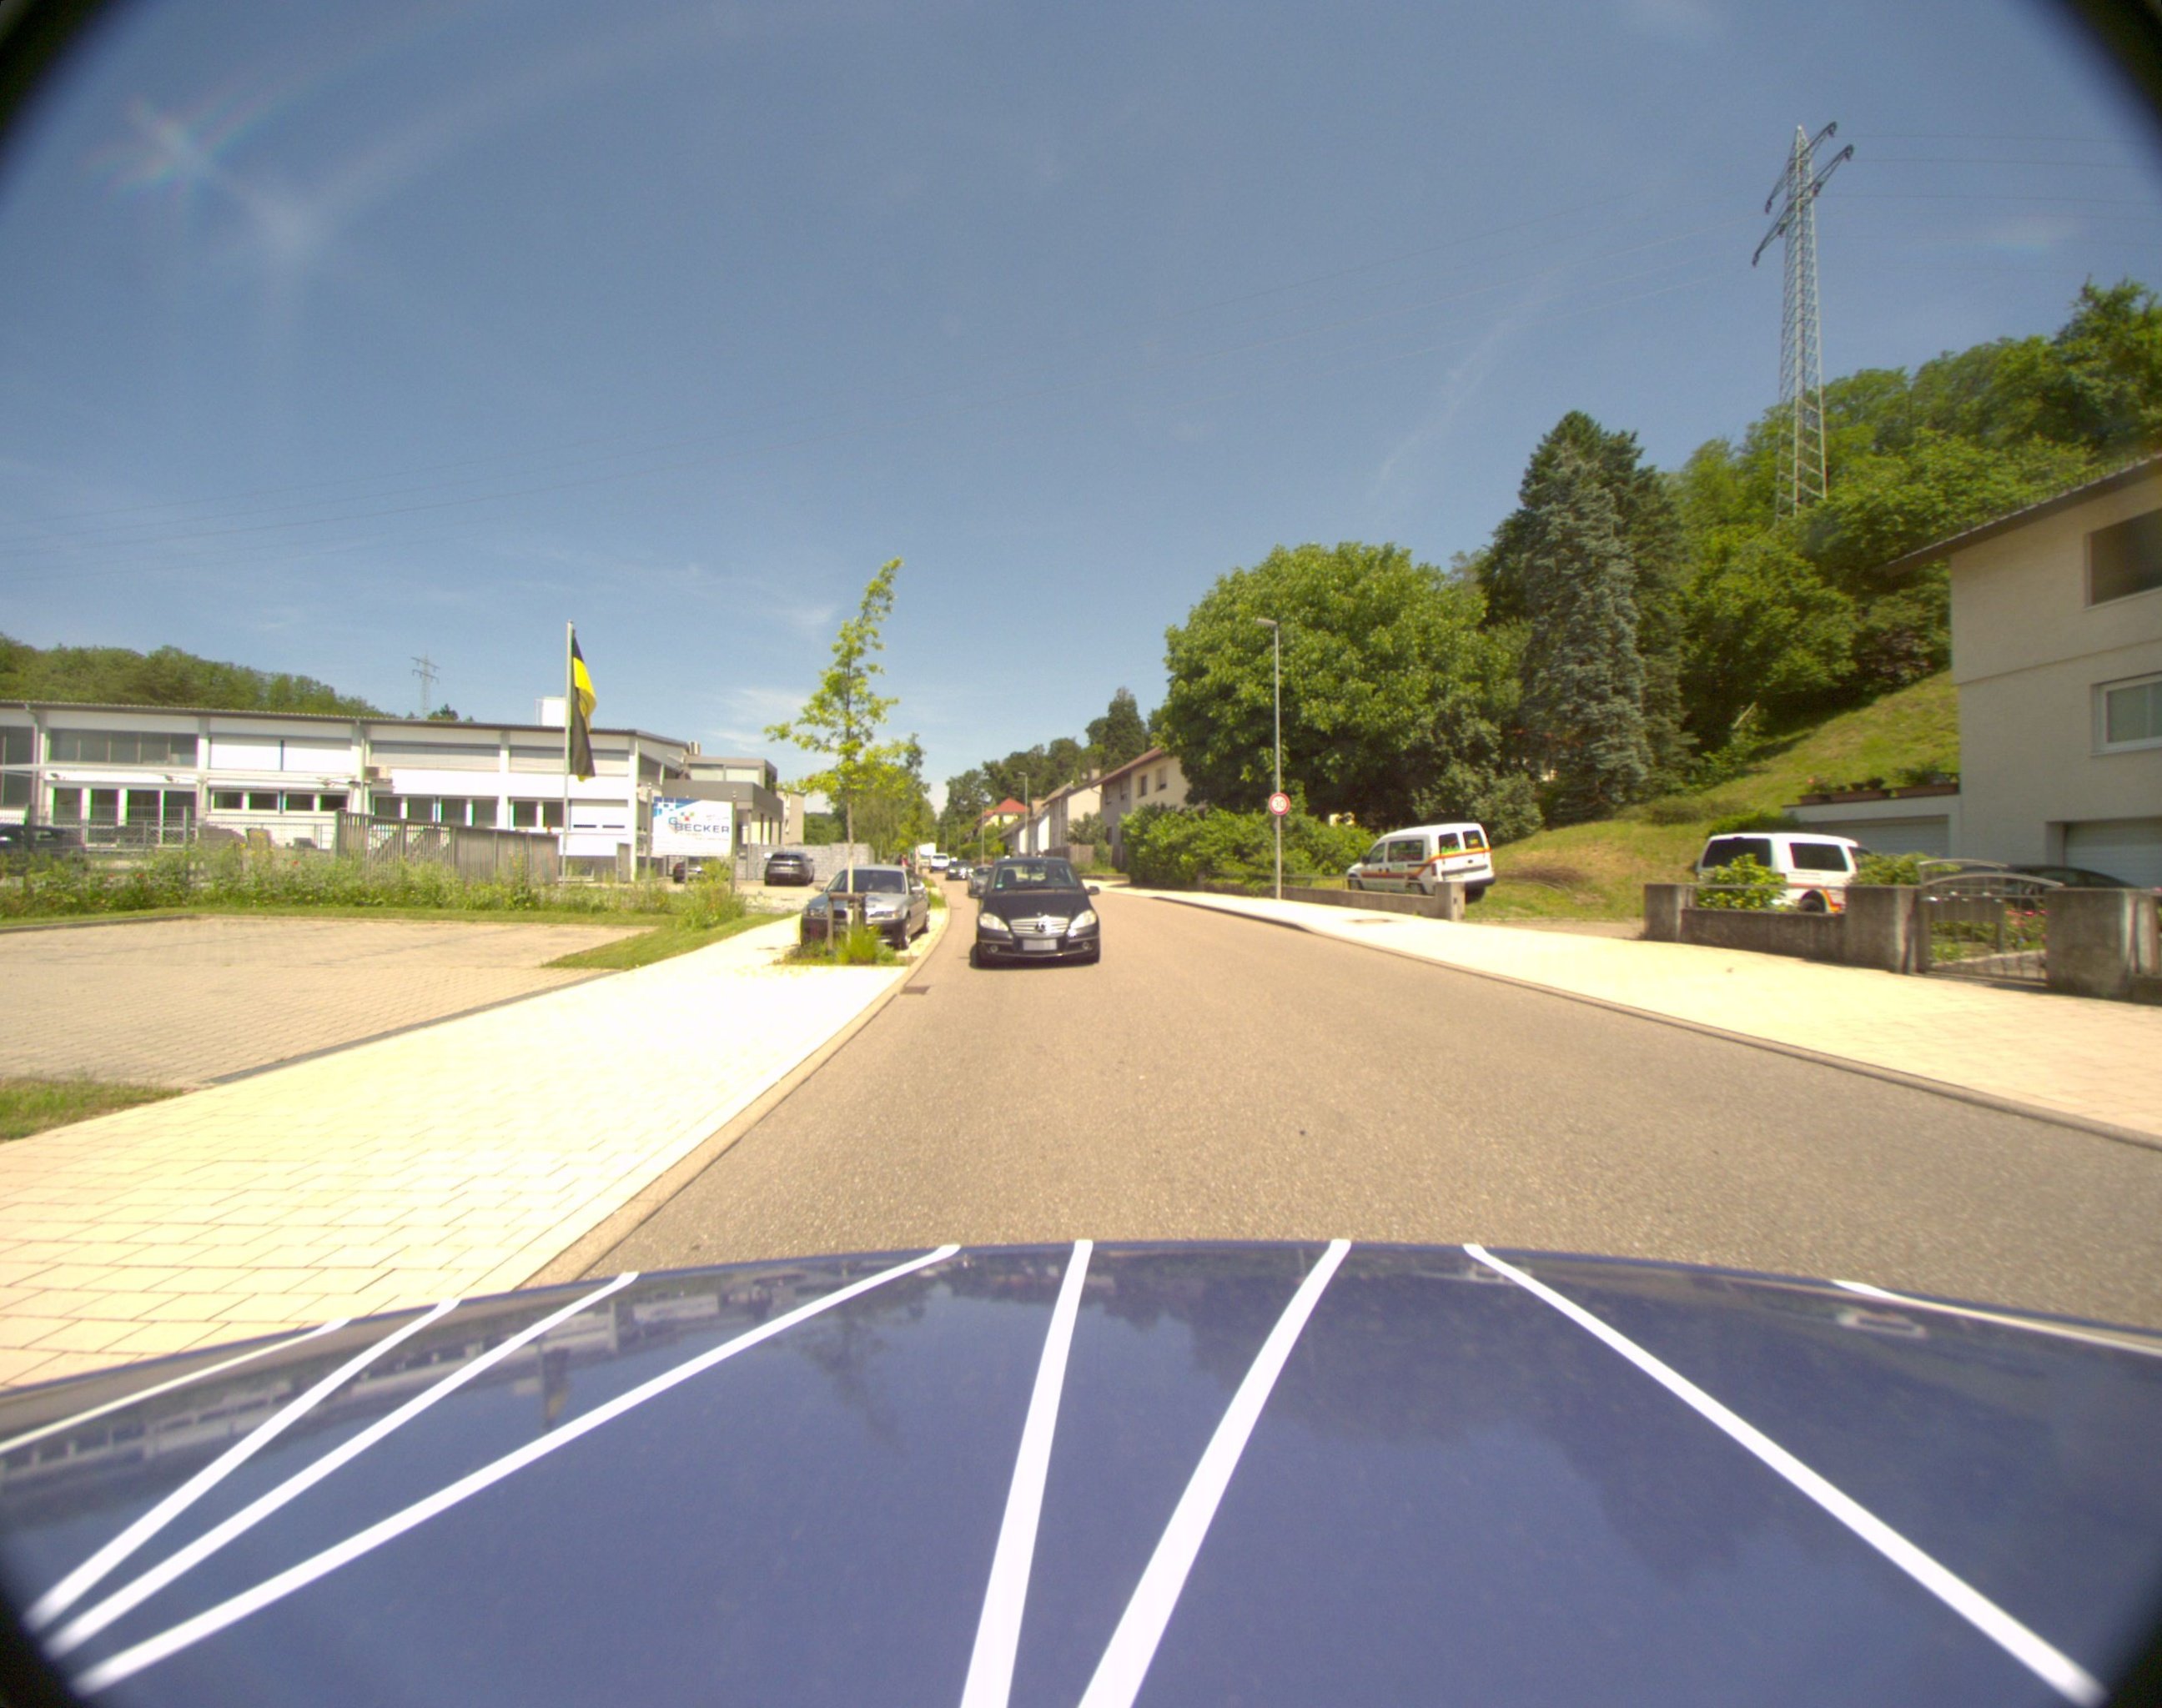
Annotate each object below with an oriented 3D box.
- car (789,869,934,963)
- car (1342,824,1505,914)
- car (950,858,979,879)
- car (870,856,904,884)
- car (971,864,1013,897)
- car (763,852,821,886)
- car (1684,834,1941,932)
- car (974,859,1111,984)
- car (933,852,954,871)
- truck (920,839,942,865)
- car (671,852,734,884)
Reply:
[{"bbox_3d":[-3.784,1.002,13.773,1.675,1.368,3.998,1,0,-4],"label":"car"},{"bbox_3d":[8.254,0.313,18.741,1.705,1.937,3.996,-1,0,-10],"label":"car"},{"bbox_3d":[-8.153,0.981,52.949,1.912,1.342,3.996,-1,0,-10],"label":"car"},{"bbox_3d":[-11.155,0.872,43.561,1.653,1.520,3.858,-1,0,-17],"label":"car"},{"bbox_3d":[-3.779,1.069,31.895,1.668,1.253,3.549,-1,0,-8],"label":"car"},{"bbox_3d":[-13.896,0.687,36.744,2.001,1.477,3.995,2,0,-12],"label":"car"},{"bbox_3d":[14.484,0.590,15.124,4.002,1.778,1.809,1,-2,-14],"label":"car"},{"bbox_3d":[-0.761,0.916,12.268,1.791,1.595,4.072,-2,0,-7],"label":"car"},{"bbox_3d":[-13.673,0.719,75.923,1.970,1.823,4.460,1,0,-10],"label":"car"},{"bbox_3d":[-20.250,-0.247,102.932,2.808,3.394,8.111,1,0,-11],"label":"truck"},{"bbox_3d":[-17.897,0.636,36.088,1.746,1.357,3.836,2,0,-12],"label":"car"}]
